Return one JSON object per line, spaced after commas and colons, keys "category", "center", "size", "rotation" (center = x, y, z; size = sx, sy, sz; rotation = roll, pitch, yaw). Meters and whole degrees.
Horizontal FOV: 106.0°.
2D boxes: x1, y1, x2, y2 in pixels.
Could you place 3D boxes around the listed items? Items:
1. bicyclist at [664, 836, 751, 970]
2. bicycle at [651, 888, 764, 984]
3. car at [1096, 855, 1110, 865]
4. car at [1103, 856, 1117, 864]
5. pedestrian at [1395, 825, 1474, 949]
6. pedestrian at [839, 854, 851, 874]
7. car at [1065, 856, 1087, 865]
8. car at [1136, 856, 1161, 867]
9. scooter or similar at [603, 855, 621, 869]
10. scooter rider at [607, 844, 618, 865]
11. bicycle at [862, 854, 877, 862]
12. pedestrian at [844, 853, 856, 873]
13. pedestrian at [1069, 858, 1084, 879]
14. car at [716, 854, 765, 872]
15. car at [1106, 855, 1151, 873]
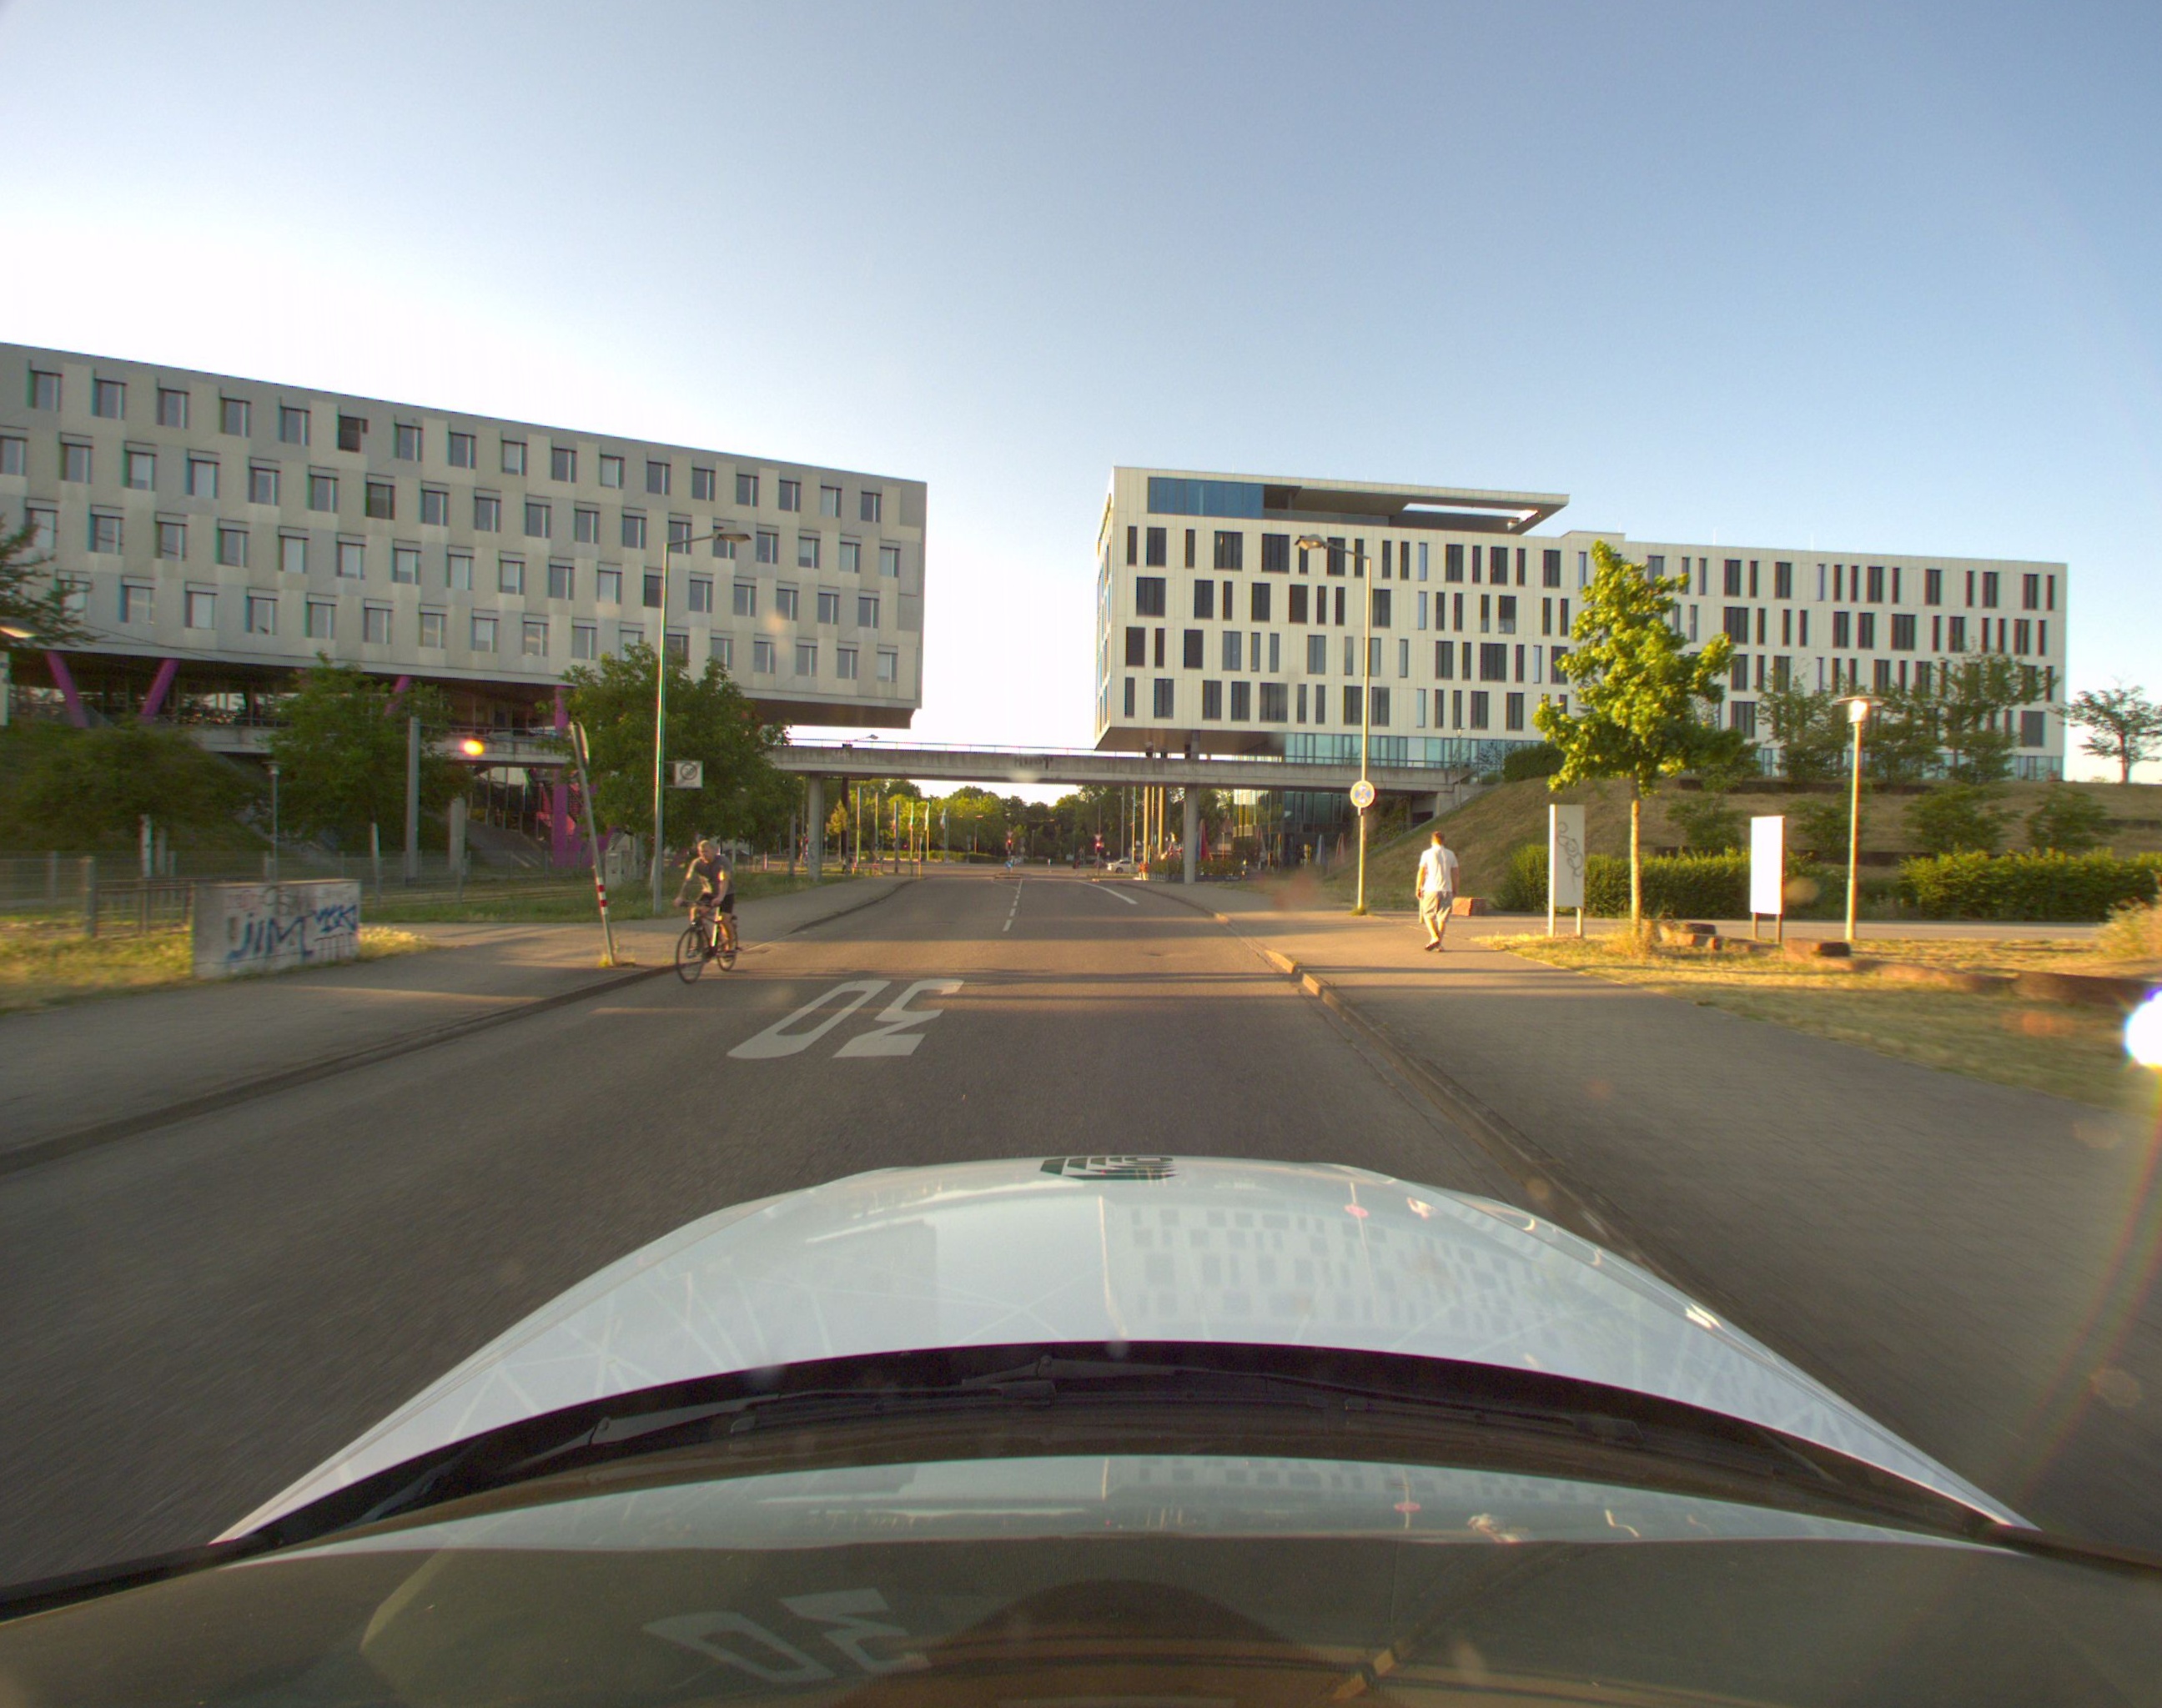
{"category": "bicyclist", "center": [-4.856, 0.606, 10.640], "size": [0.612, 1.662, 1.037], "rotation": [1, 0, 2]}
{"category": "bicycle", "center": [-4.855, 1.029, 10.739], "size": [0.536, 1.043, 1.926], "rotation": [1, 1, 2]}
{"category": "car", "center": [4.140, 1.142, 153.292], "size": [1.484, 1.760, 3.422], "rotation": [1, 1, 23]}
{"category": "car", "center": [5.659, 1.155, 157.091], "size": [1.484, 1.606, 3.422], "rotation": [1, 1, 23]}
{"category": "pedestrian", "center": [5.224, 0.486, 12.090], "size": [0.828, 1.767, 0.818], "rotation": [-1, -1, 4]}
{"category": "pedestrian", "center": [-19.741, 0.819, 68.116], "size": [0.681, 1.624, 0.714], "rotation": [1, 0, 14]}
{"category": "car", "center": [-1.012, 1.350, 180.050], "size": [4.665, 1.869, 2.015], "rotation": [1, 0, 3]}
{"category": "car", "center": [12.141, 1.307, 147.105], "size": [4.450, 1.816, 1.946], "rotation": [1, 0, 2]}
{"category": "scooter or similar", "center": [-40.276, 0.695, 69.979], "size": [1.212, 1.200, 0.502], "rotation": [1, 0, -8]}
{"category": "scooter rider", "center": [-40.239, 0.004, 69.970], "size": [0.705, 1.782, 0.442], "rotation": [1, 0, -7]}
{"category": "bicycle", "center": [-31.257, 0.542, 120.347], "size": [1.974, 1.128, 0.555], "rotation": [1, 0, -29]}
{"category": "pedestrian", "center": [-19.526, 0.797, 68.922], "size": [0.695, 1.664, 0.714], "rotation": [1, 0, 14]}
{"category": "pedestrian", "center": [-0.362, 1.249, 70.028], "size": [1.056, 1.834, 0.890], "rotation": [1, 0, -17]}
{"category": "car", "center": [-36.836, 0.927, 88.208], "size": [4.460, 1.816, 1.942], "rotation": [1, 0, -5]}
{"category": "car", "center": [5.090, 1.095, 87.805], "size": [4.675, 1.828, 1.833], "rotation": [1, 0, -3]}
